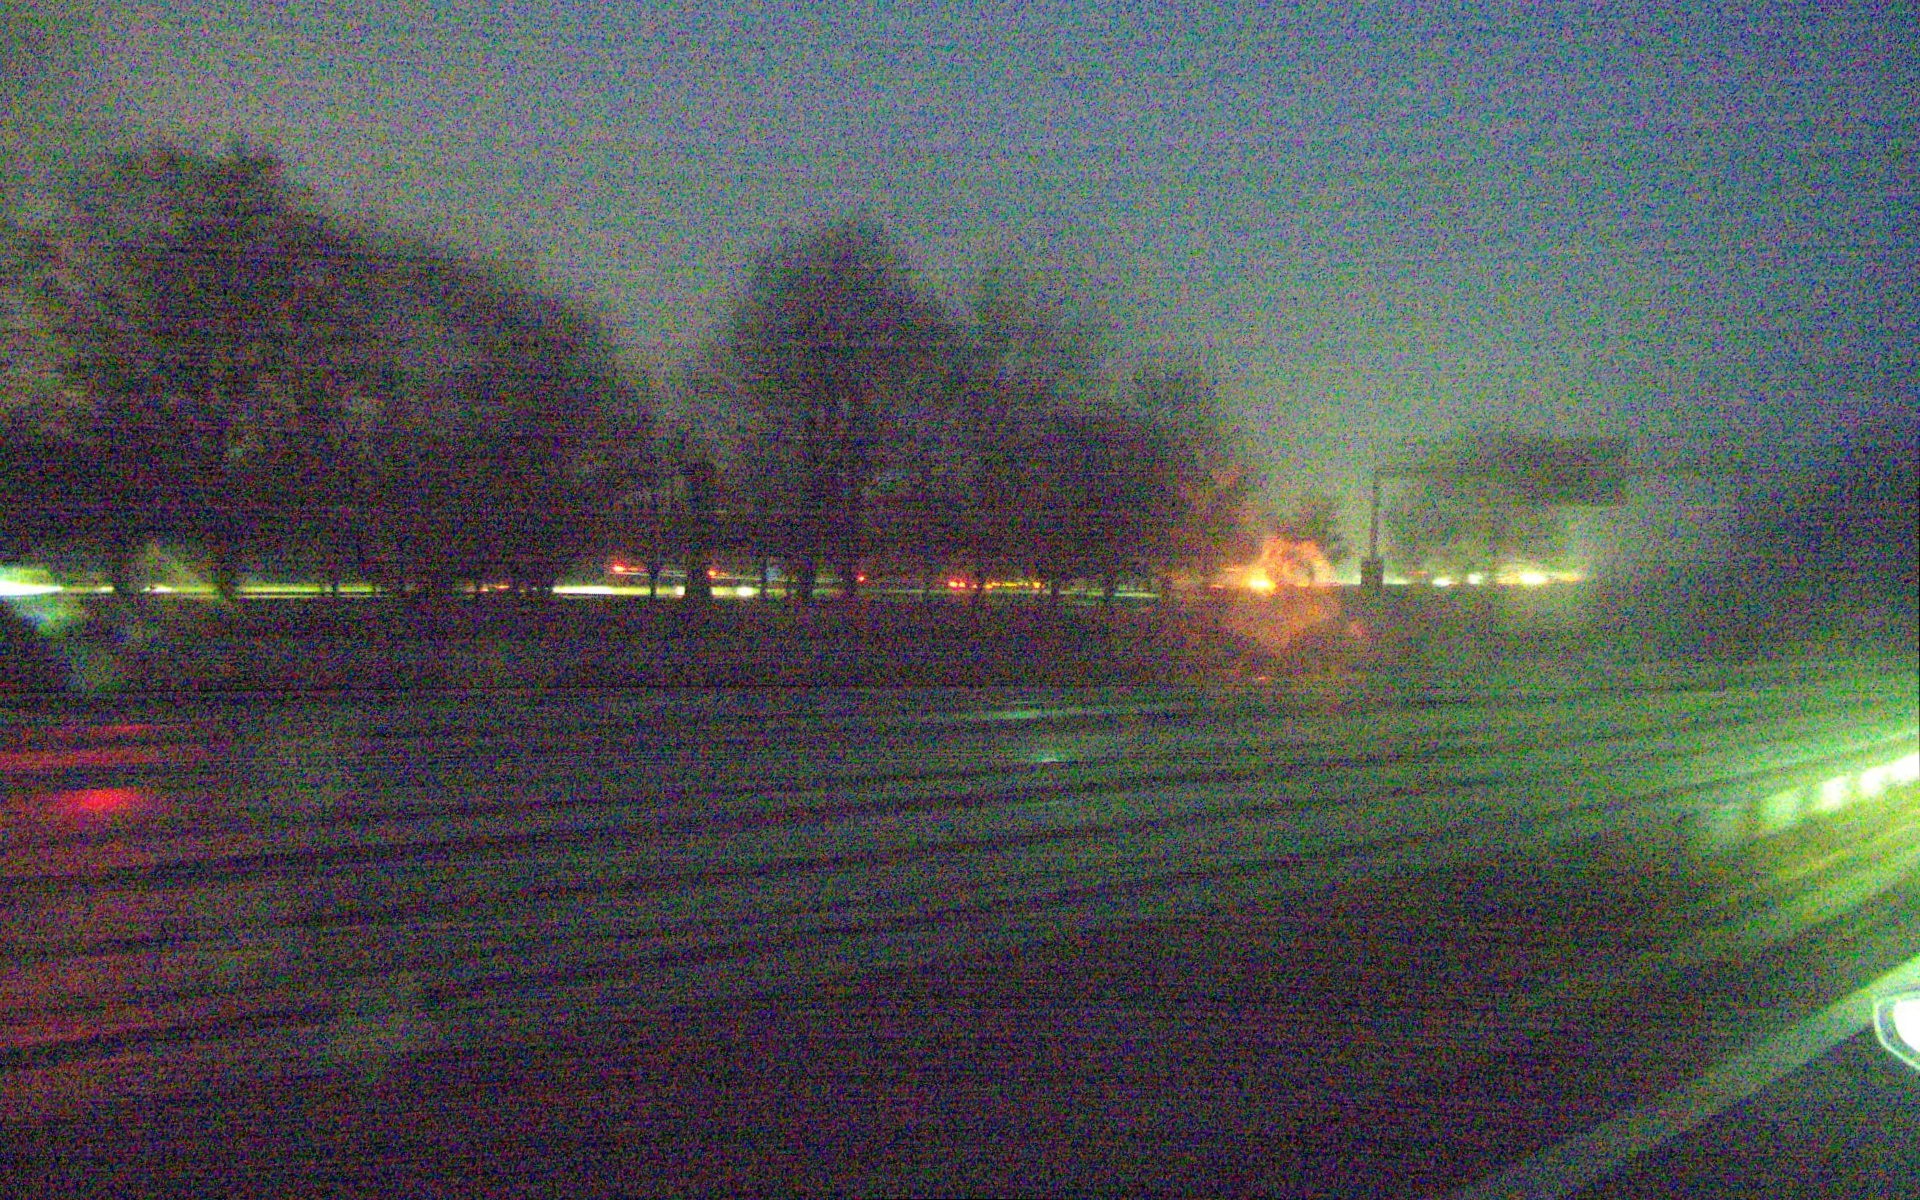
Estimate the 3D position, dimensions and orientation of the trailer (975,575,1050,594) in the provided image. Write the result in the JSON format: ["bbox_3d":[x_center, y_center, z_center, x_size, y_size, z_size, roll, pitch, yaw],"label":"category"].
[{"bbox_3d":[8.019,-2.287,150.440,12.747,2.736,2.665,0,3,-39],"label":"trailer"}]
